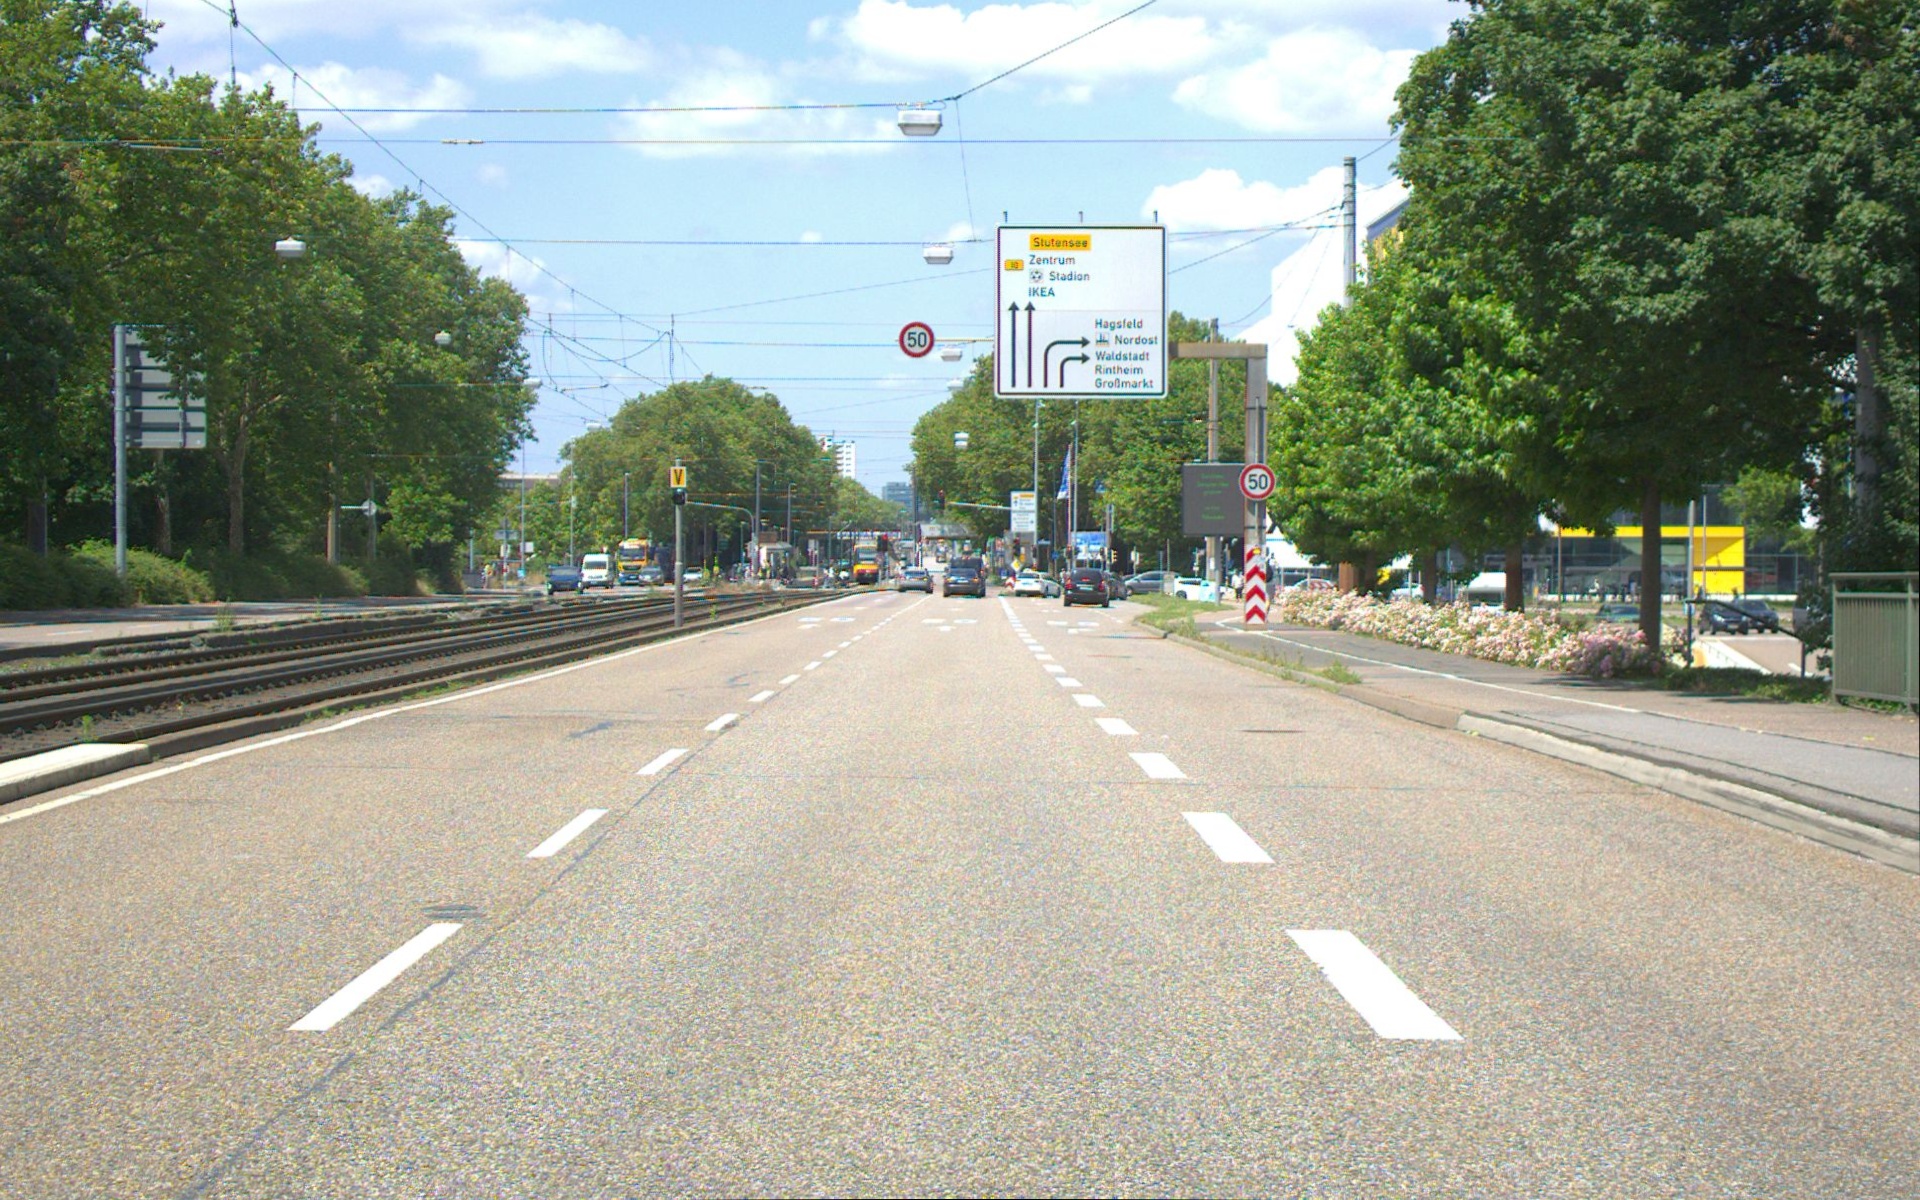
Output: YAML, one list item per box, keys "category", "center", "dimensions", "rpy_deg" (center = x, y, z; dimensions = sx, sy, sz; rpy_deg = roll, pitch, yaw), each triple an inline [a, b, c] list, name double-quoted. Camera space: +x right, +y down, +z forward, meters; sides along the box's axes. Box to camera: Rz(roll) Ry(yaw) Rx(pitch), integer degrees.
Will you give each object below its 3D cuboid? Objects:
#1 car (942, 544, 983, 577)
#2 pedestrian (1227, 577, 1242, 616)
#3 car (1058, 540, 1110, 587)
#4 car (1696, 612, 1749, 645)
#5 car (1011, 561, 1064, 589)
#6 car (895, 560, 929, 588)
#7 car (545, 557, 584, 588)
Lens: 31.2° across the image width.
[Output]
- category: "car"
  center: [0.124, -1.935, 166.868]
  dimensions: [1.876, 1.534, 3.777]
  rpy_deg: [2, 1, -1]
- category: "pedestrian"
  center: [12.522, -0.155, 156.742]
  dimensions: [0.580, 1.786, 0.590]
  rpy_deg: [2, 1, -2]
- category: "car"
  center: [5.011, -1.488, 139.426]
  dimensions: [1.899, 1.799, 3.976]
  rpy_deg: [2, 1, 0]
- category: "car"
  center: [36.937, 1.386, 166.672]
  dimensions: [1.571, 1.477, 3.889]
  rpy_deg: [2, 1, -1]
- category: "car"
  center: [4.476, -1.438, 198.639]
  dimensions: [1.687, 1.544, 3.979]
  rpy_deg: [3, 1, 23]
- category: "car"
  center: [-2.791, -1.502, 199.355]
  dimensions: [1.842, 1.544, 3.777]
  rpy_deg: [2, 1, -2]
- category: "car"
  center: [-20.869, -1.480, 181.560]
  dimensions: [1.644, 1.545, 4.217]
  rpy_deg: [2, 1, -2]
